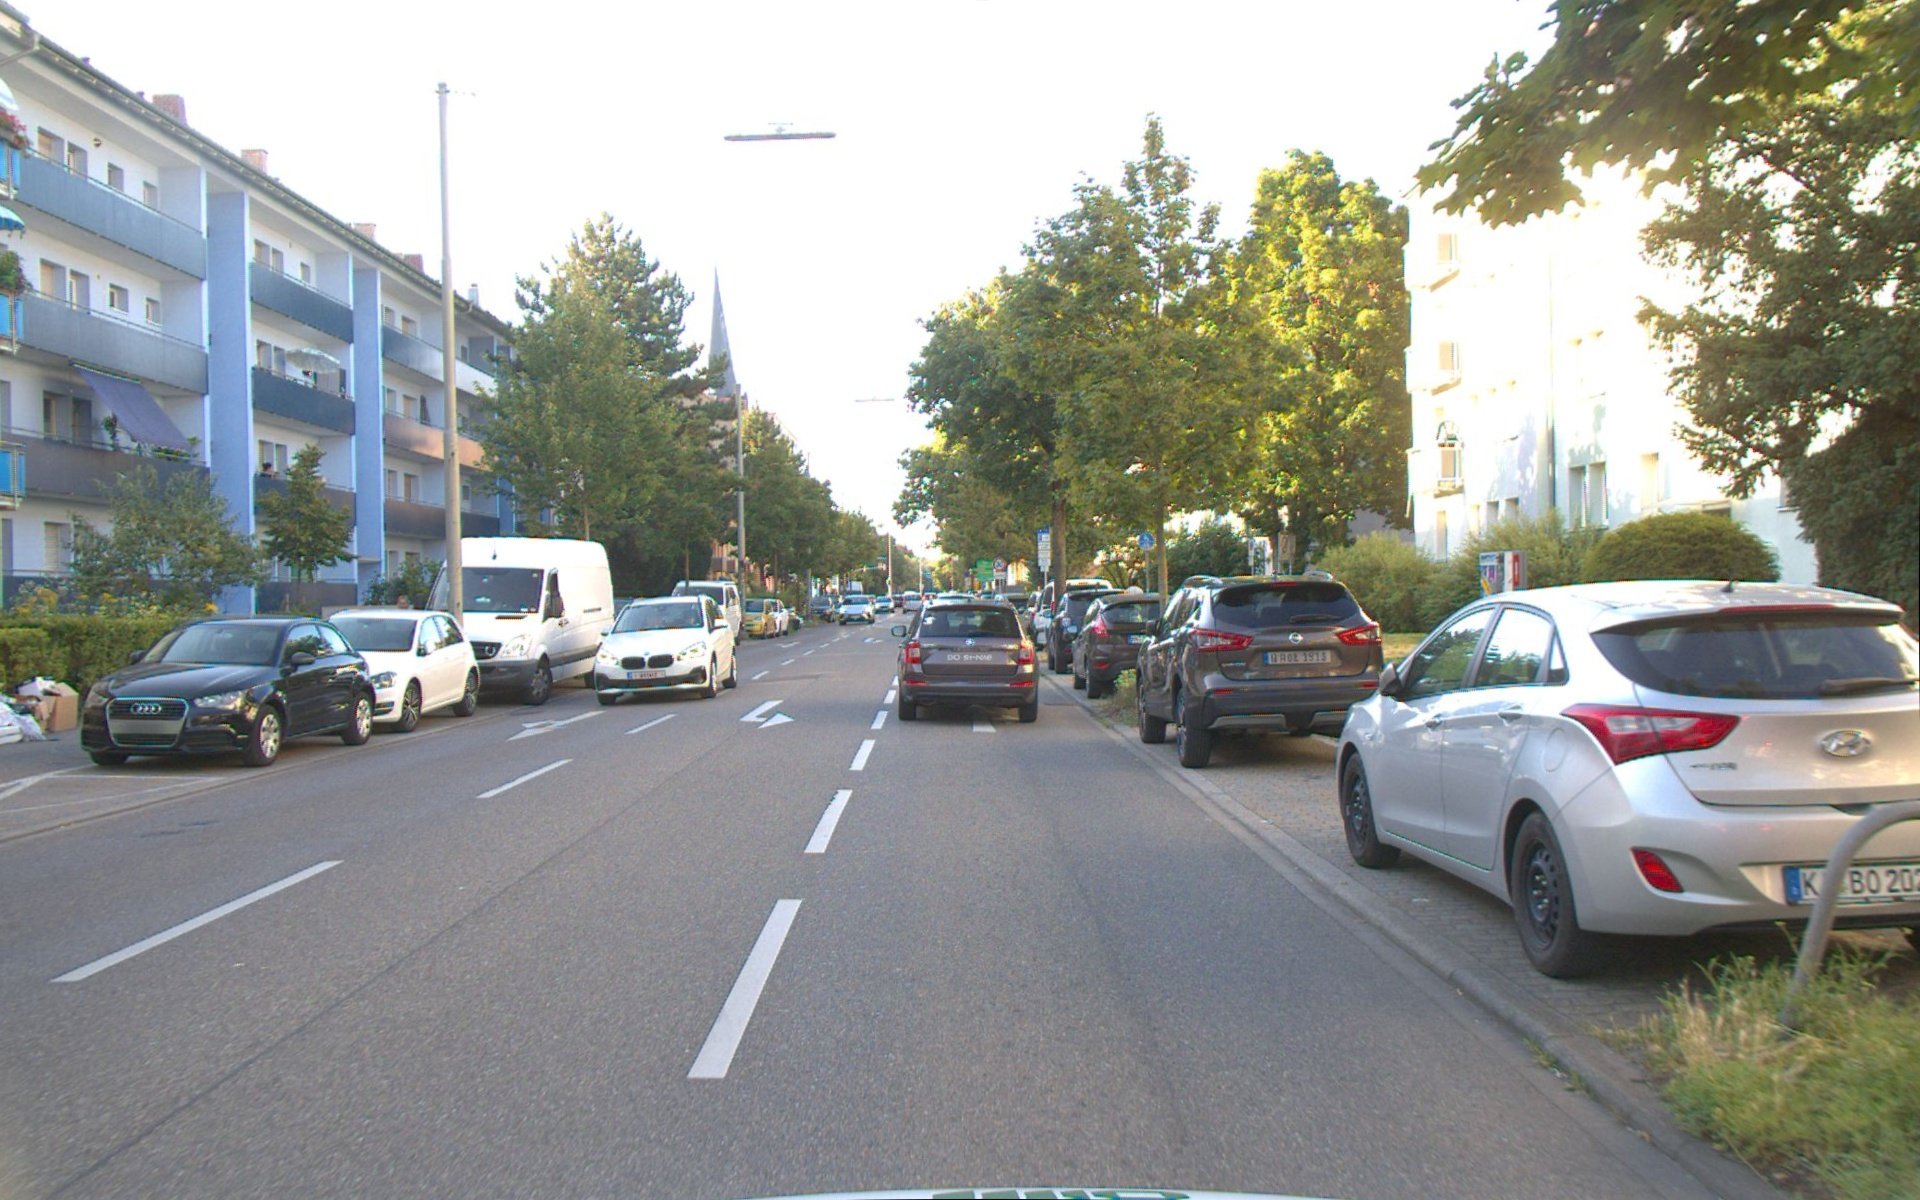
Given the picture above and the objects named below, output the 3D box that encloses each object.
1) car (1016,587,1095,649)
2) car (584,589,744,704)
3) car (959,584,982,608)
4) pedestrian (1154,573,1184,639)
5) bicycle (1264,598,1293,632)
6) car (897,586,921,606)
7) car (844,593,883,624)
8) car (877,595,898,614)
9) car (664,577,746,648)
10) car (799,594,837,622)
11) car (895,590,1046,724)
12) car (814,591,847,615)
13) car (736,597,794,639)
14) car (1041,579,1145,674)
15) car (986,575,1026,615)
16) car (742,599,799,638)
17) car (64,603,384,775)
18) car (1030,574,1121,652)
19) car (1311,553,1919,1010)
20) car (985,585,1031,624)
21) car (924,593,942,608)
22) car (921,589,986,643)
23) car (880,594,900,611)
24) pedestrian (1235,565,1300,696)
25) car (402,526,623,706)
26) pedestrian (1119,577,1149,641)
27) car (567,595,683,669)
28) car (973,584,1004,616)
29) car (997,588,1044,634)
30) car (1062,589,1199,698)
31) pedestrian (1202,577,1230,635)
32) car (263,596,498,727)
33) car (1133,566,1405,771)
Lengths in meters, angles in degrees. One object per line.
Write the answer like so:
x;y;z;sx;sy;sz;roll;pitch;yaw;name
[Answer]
2.649;0.476;46.544;1.719;1.584;4.249;-2;0;-3;car
-4.597;0.675;26.270;1.842;1.570;4.265;-3;0;-2;car
0.777;-0.307;129.251;1.718;1.837;4.000;1;0;0;car
6.189;0.174;48.972;0.781;1.893;0.951;-1;0;10;pedestrian
9.297;0.441;48.349;0.465;0.961;1.680;-1;0;-1;bicycle
-4.093;-0.308;131.194;1.746;1.506;3.968;1;0;-4;car
-5.116;0.452;87.978;1.745;1.520;3.970;-4;0;0;car
-6.391;0.412;146.284;1.704;1.505;4.308;-4;0;-1;car
-7.839;0.369;51.343;1.831;2.067;5.299;0;0;-1;car
-8.104;0.437;94.778;1.744;1.506;4.034;1;0;1;car
0.151;0.652;20.987;1.718;1.518;4.000;1;0;1;car
-8.394;0.190;107.293;1.744;1.506;3.971;1;0;1;car
-7.251;0.643;61.781;1.585;1.506;3.872;1;0;1;car
2.557;0.484;32.601;1.718;1.692;4.252;-2;0;1;car
2.215;-0.231;81.105;1.877;1.893;5.633;-1;0;1;car
-7.666;0.727;67.273;1.744;1.521;3.971;1;0;1;car
-7.325;0.811;16.875;1.579;1.498;3.812;1;0;-1;car
2.865;0.314;41.791;1.764;1.840;4.421;1;0;-3;car
3.030;0.597;7.786;1.683;1.520;4.392;-1;0;-2;car
2.023;0.211;70.913;1.719;1.584;4.102;1;0;-2;car
-2.989;0.040;181.718;1.613;1.627;3.645;-1;0;-6;car
-0.220;0.509;51.018;1.854;1.533;3.788;3;-1;-1;car
-7.517;0.216;177.316;1.955;1.780;3.995;-1;0;-6;car
4.130;0.407;22.261;0.771;1.730;0.808;0;-1;4;pedestrian
-7.393;0.228;28.198;1.953;2.662;7.103;1;0;-1;car
5.217;0.273;49.665;0.733;1.893;1.067;-1;0;-2;pedestrian
-7.539;0.674;37.580;1.637;1.570;4.473;-1;0;1;car
1.620;0.007;93.616;1.718;1.745;4.000;1;0;1;car
2.337;0.397;64.595;1.718;1.716;4.252;1;0;1;car
2.538;0.607;25.359;1.580;1.491;3.958;-2;0;-1;car
7.831;0.187;50.576;0.781;1.752;0.745;-1;0;8;pedestrian
-7.526;0.735;21.892;1.672;1.518;4.058;2;0;-1;car
2.717;0.546;15.446;1.683;1.629;4.095;-1;0;-1;car
